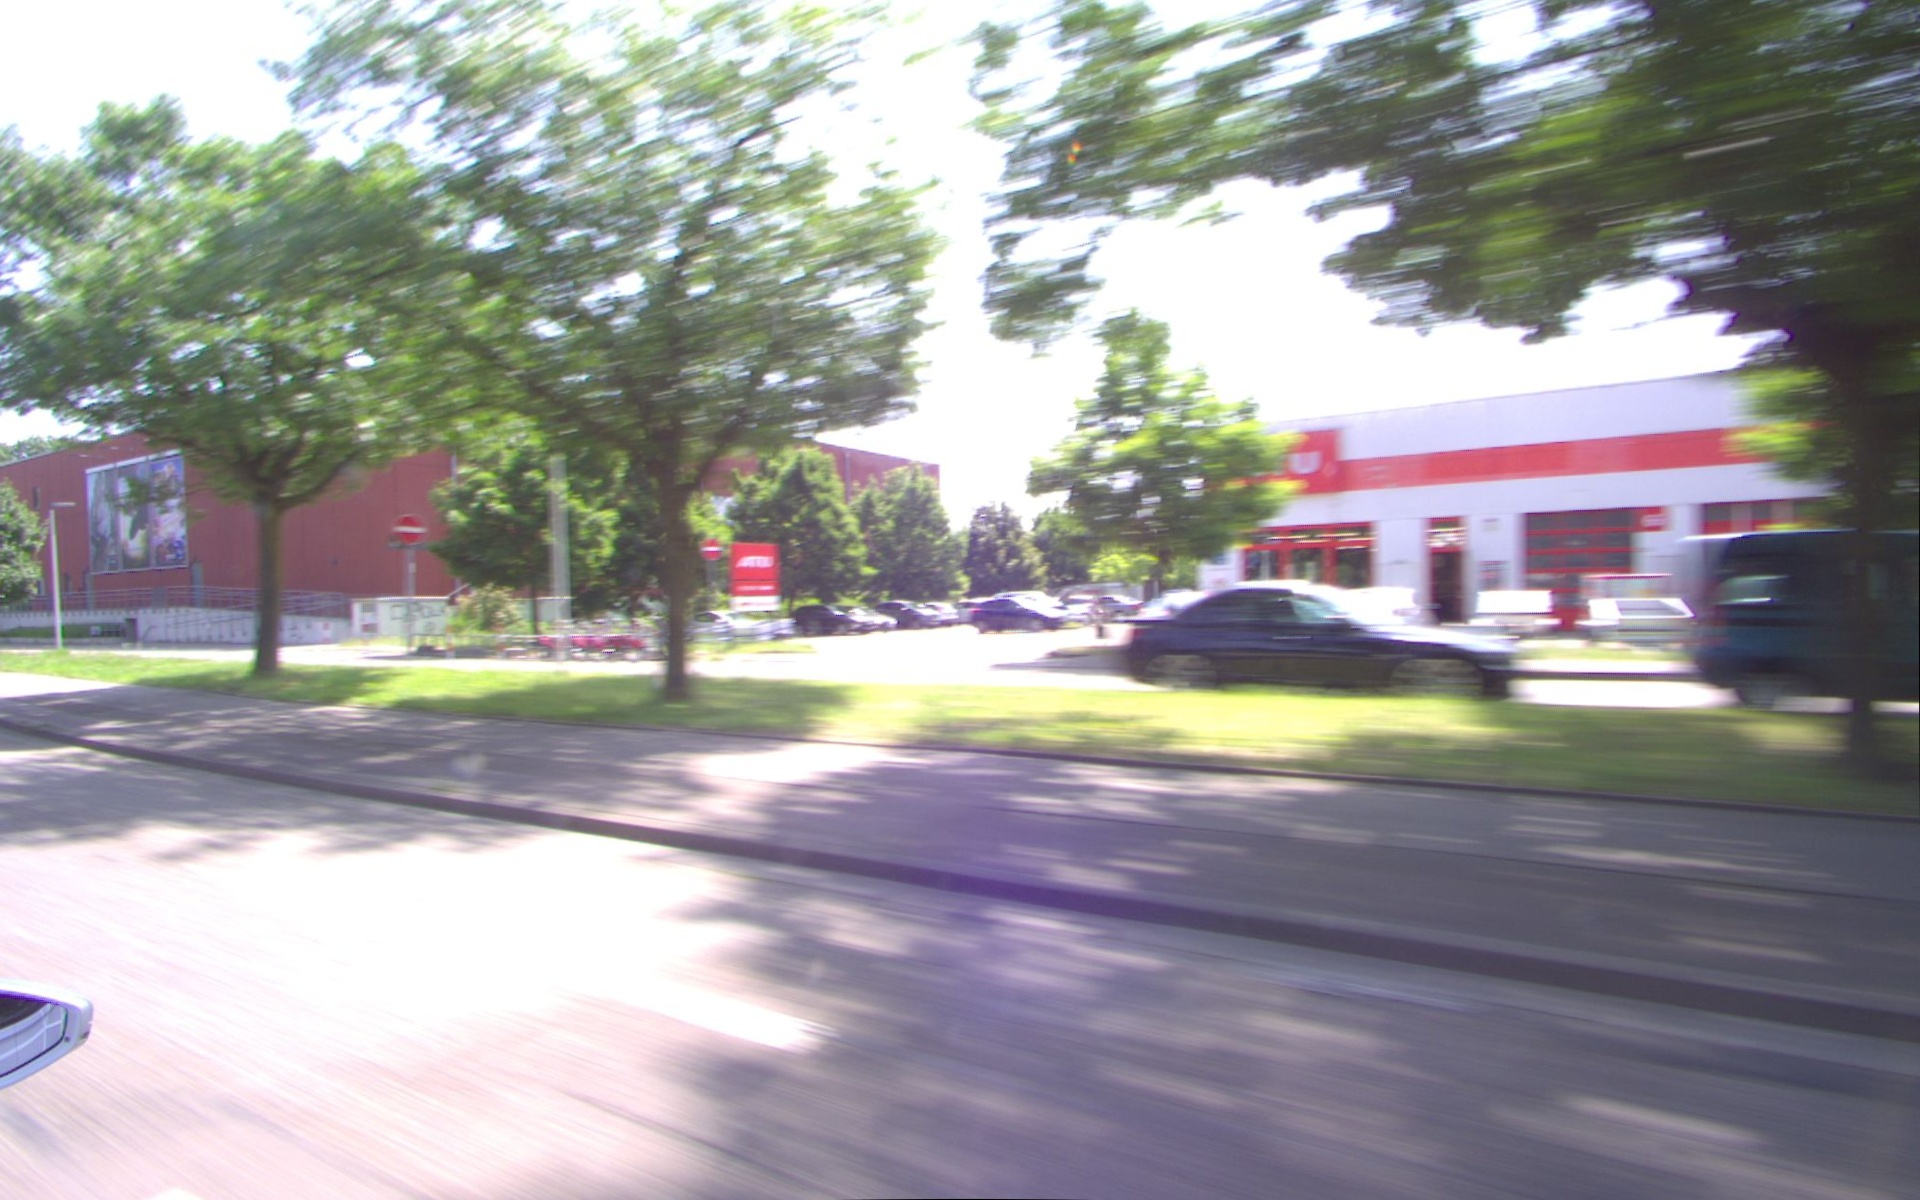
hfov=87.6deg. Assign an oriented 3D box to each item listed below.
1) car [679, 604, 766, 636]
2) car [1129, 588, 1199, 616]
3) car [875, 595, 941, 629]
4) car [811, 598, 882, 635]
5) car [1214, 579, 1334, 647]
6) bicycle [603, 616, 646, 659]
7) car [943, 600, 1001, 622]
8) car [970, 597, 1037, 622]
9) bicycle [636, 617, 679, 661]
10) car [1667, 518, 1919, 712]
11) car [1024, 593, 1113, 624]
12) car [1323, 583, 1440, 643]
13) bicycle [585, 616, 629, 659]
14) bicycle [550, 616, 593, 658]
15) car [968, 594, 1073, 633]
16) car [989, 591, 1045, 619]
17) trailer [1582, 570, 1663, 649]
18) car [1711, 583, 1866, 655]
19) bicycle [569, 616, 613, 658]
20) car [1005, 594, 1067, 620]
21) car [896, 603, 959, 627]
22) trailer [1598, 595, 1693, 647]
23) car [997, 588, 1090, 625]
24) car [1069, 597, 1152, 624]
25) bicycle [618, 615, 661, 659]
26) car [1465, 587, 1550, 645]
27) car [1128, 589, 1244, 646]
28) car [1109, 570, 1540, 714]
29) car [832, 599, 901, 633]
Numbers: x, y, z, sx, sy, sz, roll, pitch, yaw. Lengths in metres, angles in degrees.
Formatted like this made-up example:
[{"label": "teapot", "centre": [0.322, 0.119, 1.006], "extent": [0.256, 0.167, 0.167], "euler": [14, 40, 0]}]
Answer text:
[{"label": "car", "centre": [-10.315, 0.863, 43.390], "extent": [3.817, 1.307, 1.408], "euler": [-1, 1, 34]}, {"label": "car", "centre": [12.663, 0.116, 62.167], "extent": [3.942, 1.684, 1.694], "euler": [-1, 1, 32]}, {"label": "car", "centre": [-2.884, 0.664, 55.942], "extent": [3.307, 1.818, 1.569], "euler": [-1, 1, 20]}, {"label": "car", "centre": [-5.557, 0.790, 48.898], "extent": [3.147, 1.720, 1.405], "euler": [-1, 1, 25]}, {"label": "car", "centre": [7.552, 0.265, 23.839], "extent": [1.913, 1.461, 3.980], "euler": [-1, 1, 30]}, {"label": "bicycle", "centre": [-8.957, 0.990, 26.756], "extent": [0.342, 1.099, 1.086], "euler": [0, 1, 32]}, {"label": "car", "centre": [0.726, 0.661, 62.367], "extent": [3.319, 1.307, 1.563], "euler": [-1, 1, 34]}, {"label": "car", "centre": [2.773, 0.615, 63.979], "extent": [3.942, 1.528, 1.644], "euler": [-1, 1, 32]}, {"label": "bicycle", "centre": [-7.862, 0.997, 26.039], "extent": [0.342, 1.099, 1.086], "euler": [0, 1, 32]}, {"label": "car", "centre": [8.881, 0.114, 9.136], "extent": [3.850, 1.659, 1.697], "euler": [-2, 0, 32]}, {"label": "car", "centre": [5.208, 0.416, 48.301], "extent": [3.942, 1.439, 1.707], "euler": [-1, 1, 32]}, {"label": "car", "centre": [9.643, 0.291, 22.723], "extent": [1.881, 1.237, 3.980], "euler": [-1, -1, 31]}, {"label": "bicycle", "centre": [-9.546, 1.007, 27.091], "extent": [0.401, 1.099, 1.086], "euler": [0, 1, 32]}, {"label": "bicycle", "centre": [-10.804, 1.014, 27.854], "extent": [0.401, 1.099, 1.086], "euler": [0, 1, 32]}, {"label": "car", "centre": [2.518, 0.584, 42.149], "extent": [4.090, 1.505, 1.743], "euler": [-2, -1, 32]}, {"label": "car", "centre": [3.760, 0.334, 66.002], "extent": [3.316, 1.817, 1.565], "euler": [-1, 0, 31]}, {"label": "trailer", "centre": [14.667, 0.174, 22.205], "extent": [1.393, 1.603, 3.595], "euler": [0, 1, 33]}, {"label": "car", "centre": [15.307, 0.294, 18.691], "extent": [1.733, 1.198, 3.793], "euler": [-1, 1, 32]}, {"label": "bicycle", "centre": [-10.115, 0.994, 27.452], "extent": [0.401, 1.099, 1.086], "euler": [0, 1, 32]}, {"label": "car", "centre": [5.375, 0.499, 71.092], "extent": [3.943, 1.728, 1.990], "euler": [-2, -1, 32]}, {"label": "car", "centre": [-1.869, 0.865, 58.072], "extent": [3.307, 1.307, 1.569], "euler": [-1, 1, 20]}, {"label": "trailer", "centre": [13.175, 0.415, 19.337], "extent": [1.361, 0.922, 2.708], "euler": [-1, -1, 31]}, {"label": "car", "centre": [3.830, 0.305, 46.337], "extent": [3.942, 1.641, 1.707], "euler": [-1, 1, 32]}, {"label": "car", "centre": [7.804, 0.535, 52.083], "extent": [3.942, 1.338, 1.707], "euler": [-1, 1, 32]}, {"label": "bicycle", "centre": [-8.408, 0.972, 26.284], "extent": [0.342, 1.099, 1.086], "euler": [0, 1, 32]}, {"label": "car", "centre": [12.604, 0.407, 22.971], "extent": [1.505, 1.223, 3.120], "euler": [-1, -2, 33]}, {"label": "car", "centre": [5.826, 0.491, 25.571], "extent": [1.794, 1.323, 3.559], "euler": [-1, -2, 33]}, {"label": "car", "centre": [4.259, 0.472, 12.068], "extent": [4.592, 1.443, 1.695], "euler": [-2, 0, 35]}, {"label": "car", "centre": [-4.838, 0.816, 51.761], "extent": [3.321, 1.662, 1.563], "euler": [-1, 1, 36]}]
